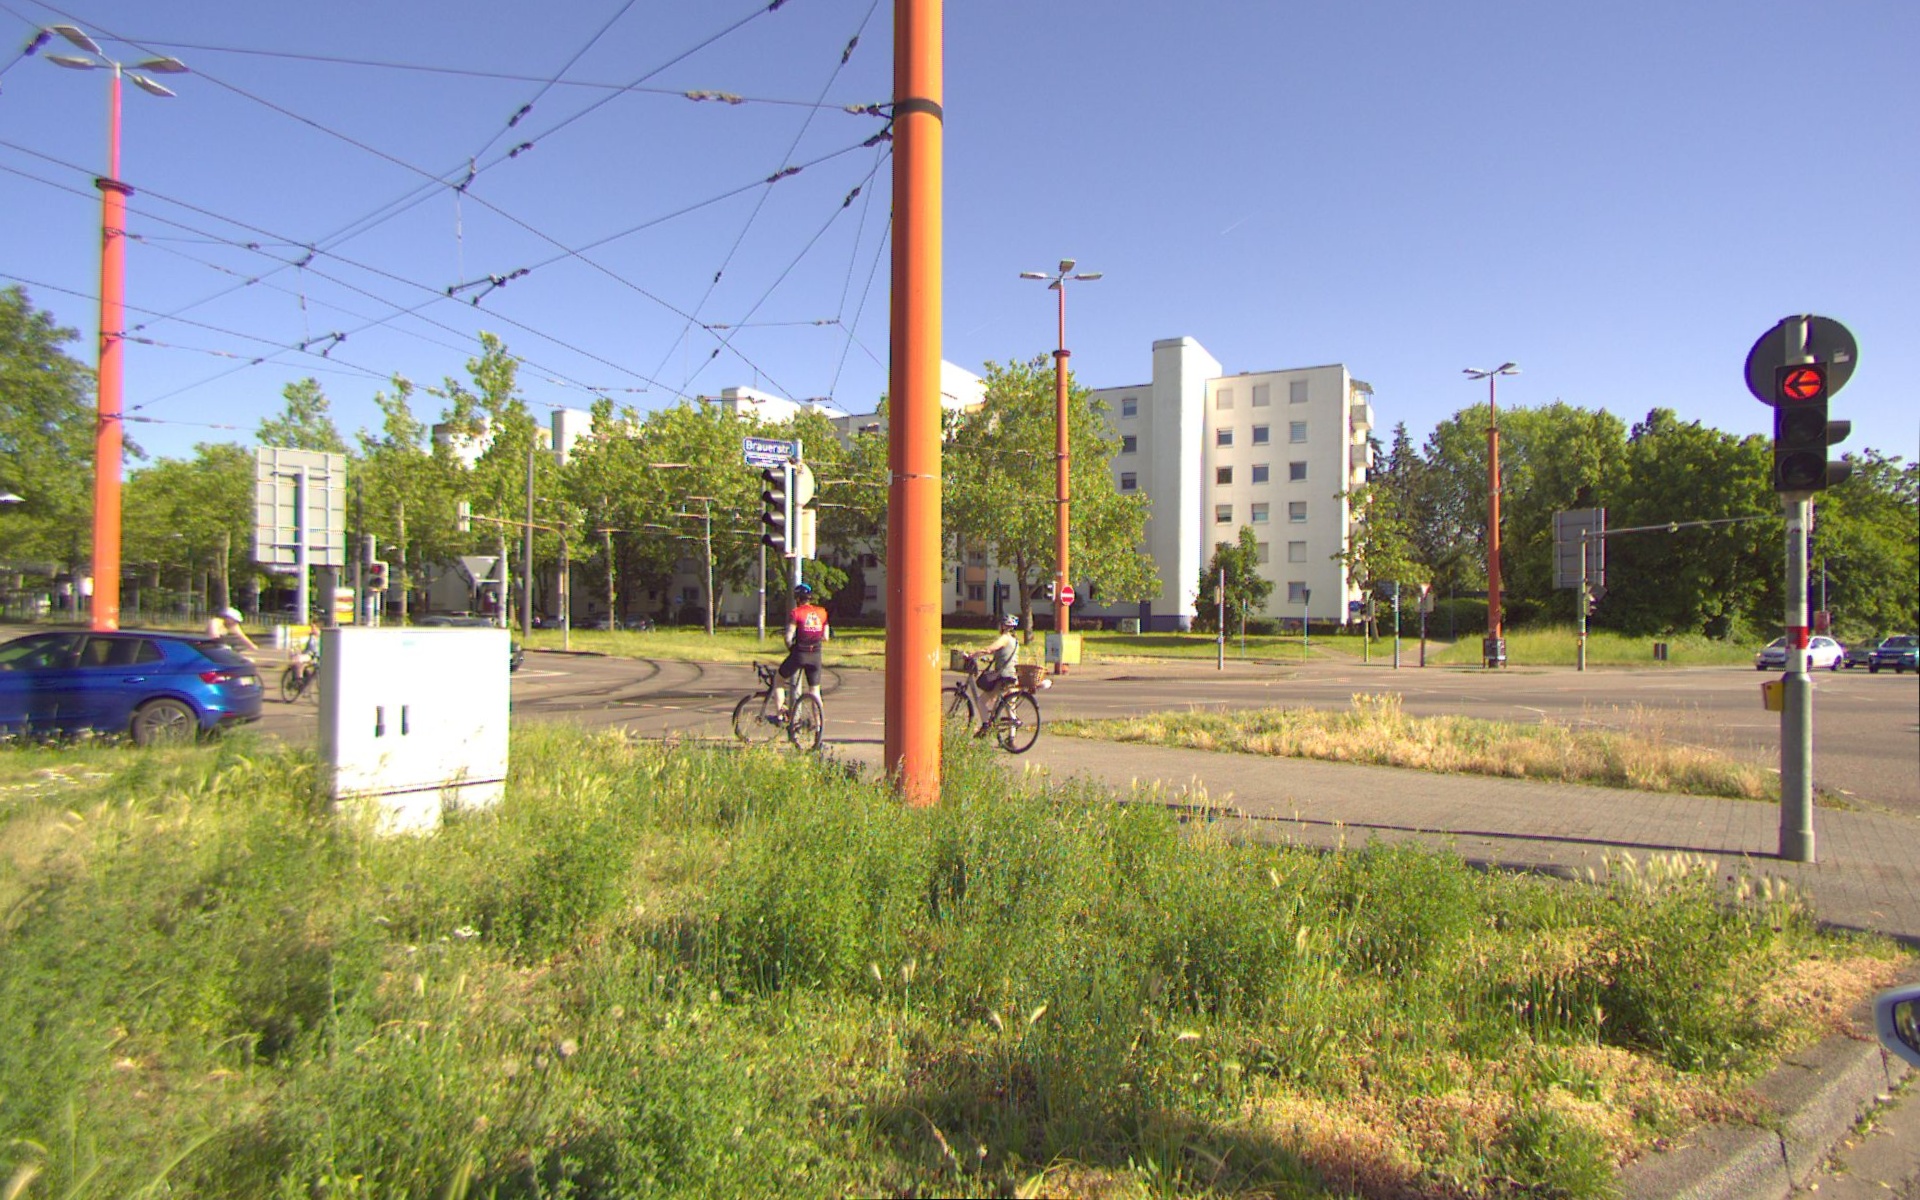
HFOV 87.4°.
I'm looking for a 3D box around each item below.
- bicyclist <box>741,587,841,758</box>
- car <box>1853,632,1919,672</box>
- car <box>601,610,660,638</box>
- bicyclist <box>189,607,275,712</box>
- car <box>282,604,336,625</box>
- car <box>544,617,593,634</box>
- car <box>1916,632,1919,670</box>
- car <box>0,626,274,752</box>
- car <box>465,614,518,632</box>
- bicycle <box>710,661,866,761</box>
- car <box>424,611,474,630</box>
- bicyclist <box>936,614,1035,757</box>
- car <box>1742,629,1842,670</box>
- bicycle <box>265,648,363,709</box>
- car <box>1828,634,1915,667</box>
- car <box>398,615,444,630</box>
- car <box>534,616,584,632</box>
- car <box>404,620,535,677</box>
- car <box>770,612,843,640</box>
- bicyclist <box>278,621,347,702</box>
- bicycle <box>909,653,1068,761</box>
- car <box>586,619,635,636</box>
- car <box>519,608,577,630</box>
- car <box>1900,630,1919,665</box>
[{"bbox_3d":[-2.007,0.844,11.959,0.974,1.938,0.685,-1,-2,33],"label":"bicyclist"},{"bbox_3d":[37.299,2.045,39.762,3.813,1.535,1.793,1,-3,-30],"label":"car"},{"bbox_3d":[-23.667,1.707,72.292,3.874,1.841,1.651,2,0,-13],"label":"car"},{"bbox_3d":[-13.596,1.085,18.771,0.905,1.892,0.893,2,0,17],"label":"bicyclist"},{"bbox_3d":[-66.302,1.471,102.351,4.274,2.010,1.932,1,-1,-19],"label":"car"},{"bbox_3d":[-29.329,1.894,75.335,3.219,1.172,1.357,2,0,-12],"label":"car"},{"bbox_3d":[42.609,2.174,42.712,3.955,1.575,1.891,2,-2,-32],"label":"car"},{"bbox_3d":[-11.089,1.064,12.557,3.852,1.439,1.571,1,-1,-22],"label":"car"},{"bbox_3d":[-38.840,1.924,83.383,3.665,1.349,1.496,2,0,-8],"label":"car"},{"bbox_3d":[-2.072,1.286,12.000,1.883,1.085,0.690,-2,-2,33],"label":"bicycle"},{"bbox_3d":[-43.259,1.767,85.095,3.592,1.480,1.608,2,0,-19],"label":"car"},{"bbox_3d":[0.317,1.004,12.224,0.815,1.643,0.888,0,-1,41],"label":"bicyclist"},{"bbox_3d":[35.368,2.116,42.683,4.168,1.673,1.869,2,-3,-29],"label":"car"},{"bbox_3d":[-12.855,1.537,19.993,1.878,1.086,0.580,2,0,19],"label":"bicycle"},{"bbox_3d":[43.138,2.380,47.528,3.952,1.533,1.877,1,-2,-29],"label":"car"},{"bbox_3d":[-46.627,1.931,86.949,3.370,1.204,1.439,2,0,-23],"label":"car"},{"bbox_3d":[-30.896,1.862,77.432,3.346,1.162,1.305,2,0,-13],"label":"car"},{"bbox_3d":[-15.220,1.444,31.094,3.977,1.516,1.913,2,0,34],"label":"car"},{"bbox_3d":[-8.684,1.480,56.719,3.884,1.522,1.833,-1,-3,35],"label":"car"},{"bbox_3d":[-12.893,1.204,20.000,0.906,1.545,0.720,2,0,20],"label":"bicyclist"},{"bbox_3d":[0.318,1.253,12.182,1.887,1.146,0.737,0,-1,41],"label":"bicycle"},{"bbox_3d":[-25.831,2.000,74.308,3.279,1.149,1.321,2,0,-11],"label":"car"},{"bbox_3d":[-32.549,1.511,79.428,3.868,1.614,1.656,2,0,-8],"label":"car"},{"bbox_3d":[49.098,2.404,50.423,3.930,1.673,1.769,3,-4,-32],"label":"car"}]
